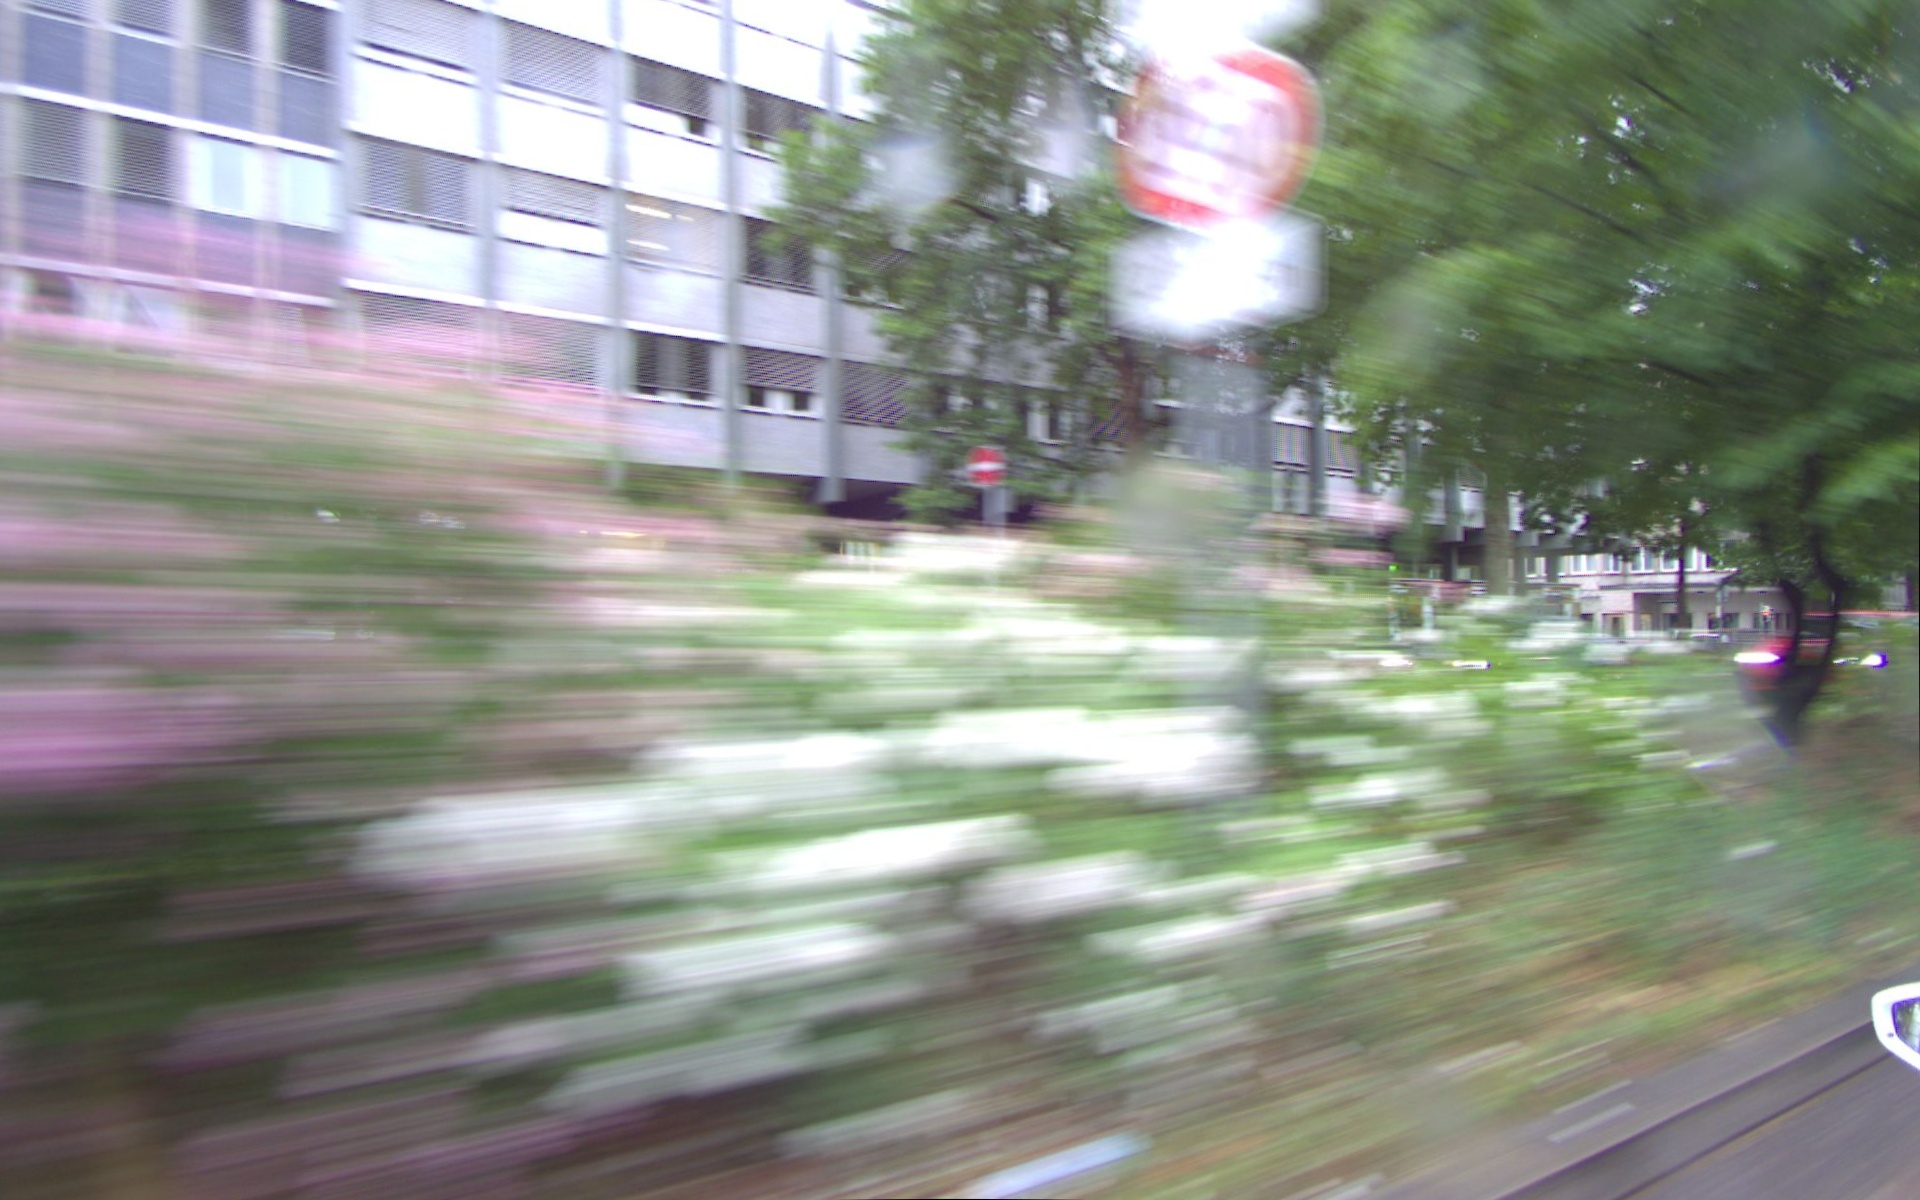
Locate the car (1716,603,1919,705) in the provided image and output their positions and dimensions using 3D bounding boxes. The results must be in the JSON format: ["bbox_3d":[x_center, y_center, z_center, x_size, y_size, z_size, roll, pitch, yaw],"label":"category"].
[{"bbox_3d":[14.139,0.864,16.113,4.141,1.447,1.719,1,-4,-30],"label":"car"}]

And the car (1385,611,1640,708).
[{"bbox_3d":[9.367,0.991,16.956,4.444,1.447,1.719,1,-4,-30],"label":"car"}]
